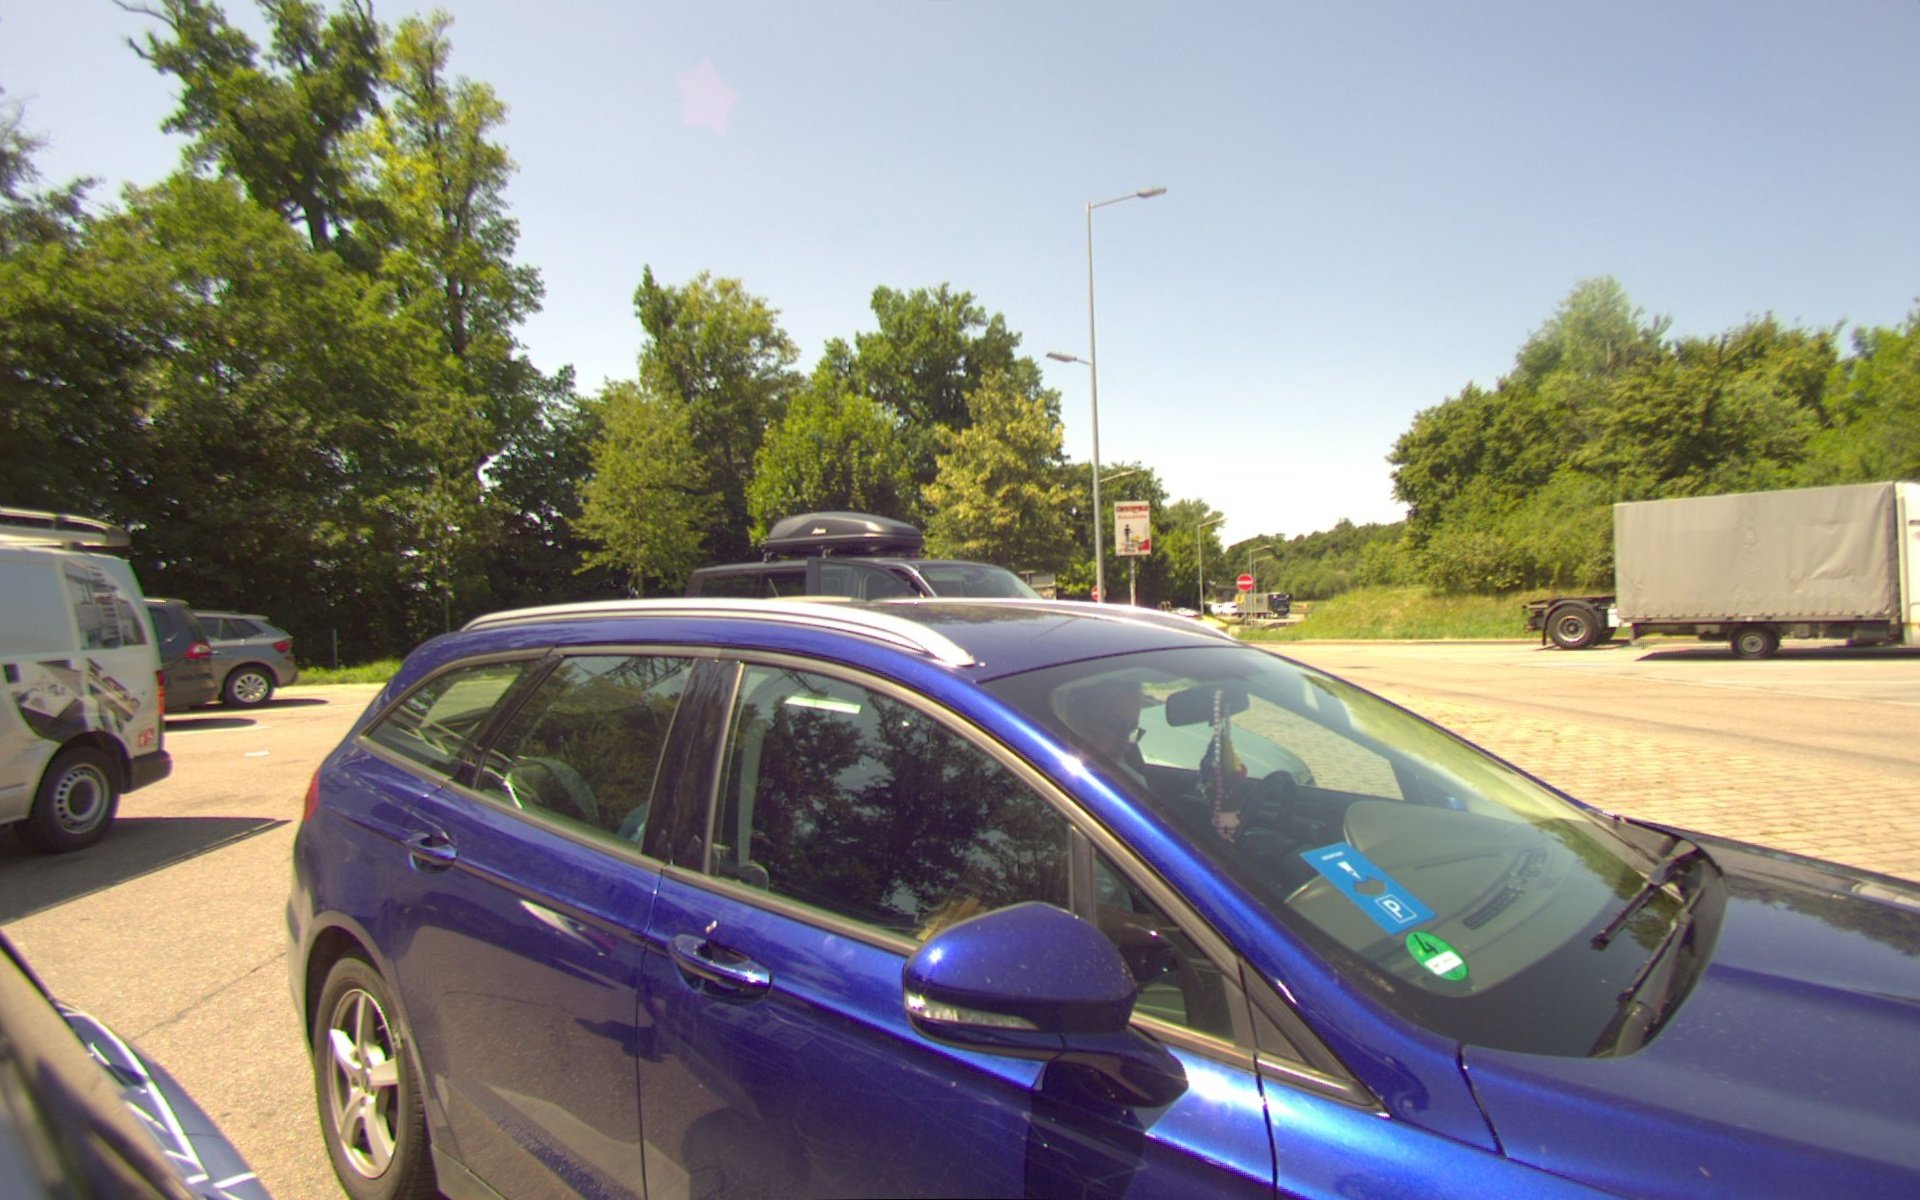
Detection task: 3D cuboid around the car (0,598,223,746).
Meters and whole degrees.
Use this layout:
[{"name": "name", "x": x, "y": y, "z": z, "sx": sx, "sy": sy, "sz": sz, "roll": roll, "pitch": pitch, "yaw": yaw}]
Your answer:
[{"name": "car", "x": -11.598, "y": 0.850, "z": 12.506, "sx": 1.755, "sy": 1.701, "sz": 3.798, "roll": -2, "pitch": -1, "yaw": 45}]

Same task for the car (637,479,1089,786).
[{"name": "car", "x": -1.029, "y": 0.310, "z": 9.606, "sx": 4.076, "sy": 2.336, "sz": 1.767, "roll": -2, "pitch": -1, "yaw": 35}]

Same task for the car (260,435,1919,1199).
[{"name": "car", "x": 0.241, "y": 0.640, "z": 2.059, "sx": 4.411, "sy": 1.429, "sz": 1.721, "roll": -2, "pitch": -1, "yaw": 41}]

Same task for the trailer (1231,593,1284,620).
[{"name": "trailer", "x": 47.738, "y": 1.096, "z": 163.038, "sx": 2.459, "sy": 4.009, "sz": 14.765, "roll": 0, "pitch": -1, "yaw": -7}]

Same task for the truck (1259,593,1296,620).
[{"name": "truck", "x": 48.707, "y": 1.036, "z": 155.373, "sx": 2.459, "sy": 4.009, "sz": 7.317, "roll": 0, "pitch": -1, "yaw": -7}]

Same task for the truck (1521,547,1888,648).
[{"name": "truck", "x": 16.985, "y": 0.044, "z": 23.510, "sx": 6.613, "sy": 2.029, "sz": 1.973, "roll": -2, "pitch": -1, "yaw": 41}]

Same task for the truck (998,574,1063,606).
[{"name": "truck", "x": 3.387, "y": -0.462, "z": 48.755, "sx": 2.866, "sy": 1.386, "sz": 1.158, "roll": -2, "pitch": -1, "yaw": 22}]

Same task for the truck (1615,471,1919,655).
[{"name": "truck", "x": 16.658, "y": -0.626, "z": 18.778, "sx": 7.253, "sy": 3.175, "sz": 2.148, "roll": -2, "pitch": -1, "yaw": 41}]

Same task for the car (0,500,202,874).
[{"name": "car", "x": -6.254, "y": 0.479, "z": 4.663, "sx": 1.816, "sy": 2.121, "sz": 5.440, "roll": 0, "pitch": -1, "yaw": -5}]

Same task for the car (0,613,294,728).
[{"name": "car", "x": -12.554, "y": 0.994, "z": 15.663, "sx": 3.535, "sy": 1.513, "sz": 1.708, "roll": -1, "pitch": 0, "yaw": -42}]

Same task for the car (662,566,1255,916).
[{"name": "car", "x": -0.164, "y": 0.590, "z": 5.500, "sx": 3.112, "sy": 1.370, "sz": 1.326, "roll": -2, "pitch": -1, "yaw": 41}]
